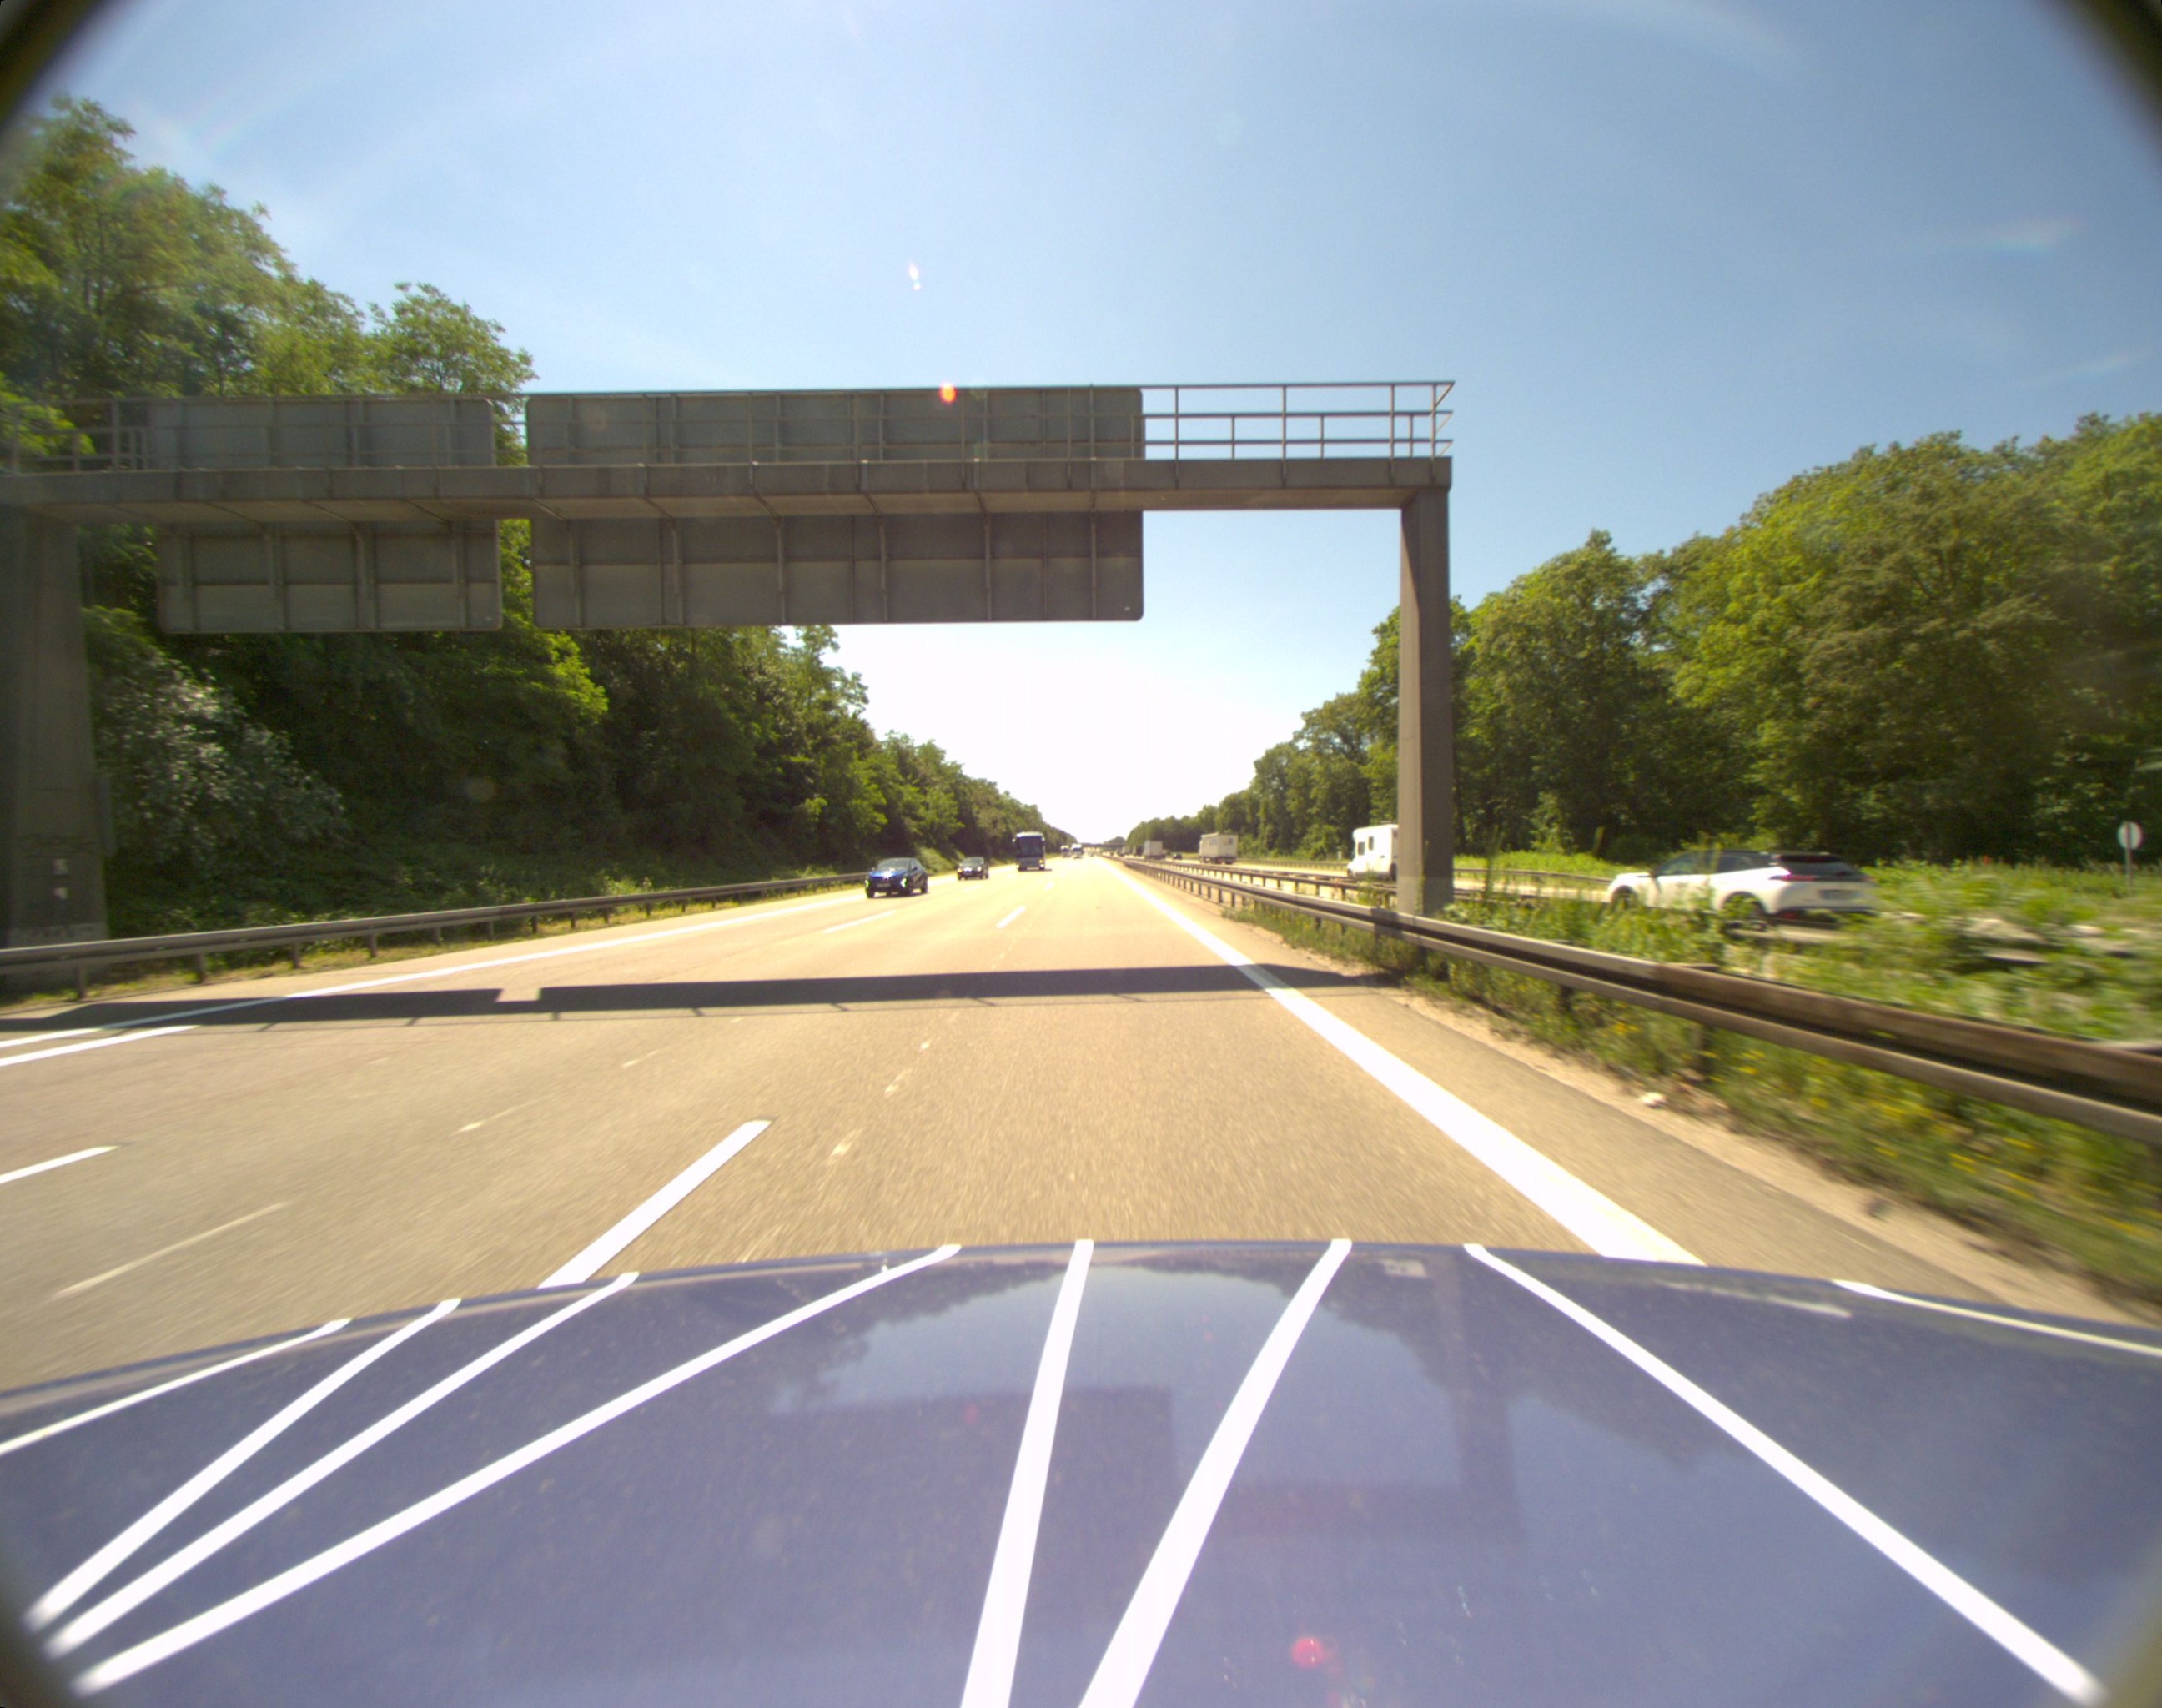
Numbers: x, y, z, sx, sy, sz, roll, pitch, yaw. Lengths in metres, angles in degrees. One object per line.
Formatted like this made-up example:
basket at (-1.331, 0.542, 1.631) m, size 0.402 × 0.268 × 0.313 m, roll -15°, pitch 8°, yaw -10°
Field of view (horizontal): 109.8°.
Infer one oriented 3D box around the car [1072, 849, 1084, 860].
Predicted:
car at (-0.696, 0.104, 188.664) m, size 2.616 × 2.389 × 7.122 m, roll -2°, pitch 1°, yaw 0°

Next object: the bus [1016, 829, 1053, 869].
bus at (-4.447, -0.572, 75.531) m, size 2.617 × 3.532 × 13.681 m, roll -2°, pitch 1°, yaw 1°

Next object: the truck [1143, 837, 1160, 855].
truck at (15.663, -1.818, 169.598) m, size 2.994 × 3.995 × 6.040 m, roll -2°, pitch 1°, yaw 0°

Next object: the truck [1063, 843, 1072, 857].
truck at (-4.607, -1.449, 258.615) m, size 2.616 × 4.638 × 10.960 m, roll -2°, pitch 1°, yaw 0°

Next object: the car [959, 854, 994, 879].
car at (-7.001, 0.810, 51.297) m, size 1.674 × 1.439 × 4.573 m, roll -2°, pitch 1°, yaw 1°

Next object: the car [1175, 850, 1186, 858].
car at (20.263, -0.047, 155.377) m, size 1.829 × 1.527 × 4.010 m, roll 0°, pitch 0°, yaw 2°

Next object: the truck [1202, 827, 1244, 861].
truck at (19.250, -1.333, 104.302) m, size 3.074 × 4.227 × 13.958 m, roll 2°, pitch 1°, yaw 0°

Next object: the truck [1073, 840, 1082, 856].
truck at (-1.053, -1.732, 231.106) m, size 2.616 × 4.638 × 10.960 m, roll -2°, pitch 1°, yaw 0°

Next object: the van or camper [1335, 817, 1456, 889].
van or camper at (14.245, -0.069, 35.099) m, size 2.599 × 2.890 × 7.233 m, roll -2°, pitch 1°, yaw 1°

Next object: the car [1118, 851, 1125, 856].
car at (12.754, -0.261, 239.633) m, size 1.811 × 1.582 × 4.668 m, roll -2°, pitch 1°, yaw 1°

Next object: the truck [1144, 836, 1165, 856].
truck at (15.628, -1.741, 163.052) m, size 2.994 × 3.995 × 13.934 m, roll -2°, pitch 1°, yaw 0°

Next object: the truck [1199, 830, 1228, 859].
truck at (19.229, -1.329, 110.771) m, size 2.977 × 4.039 × 6.458 m, roll 2°, pitch 1°, yaw 1°

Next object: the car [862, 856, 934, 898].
car at (-7.596, 0.913, 31.926) m, size 1.875 × 1.547 × 4.201 m, roll -2°, pitch 1°, yaw 1°

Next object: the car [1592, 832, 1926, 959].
car at (11.542, 0.590, 13.511) m, size 1.695 × 1.805 × 4.713 m, roll -2°, pitch 1°, yaw 0°
